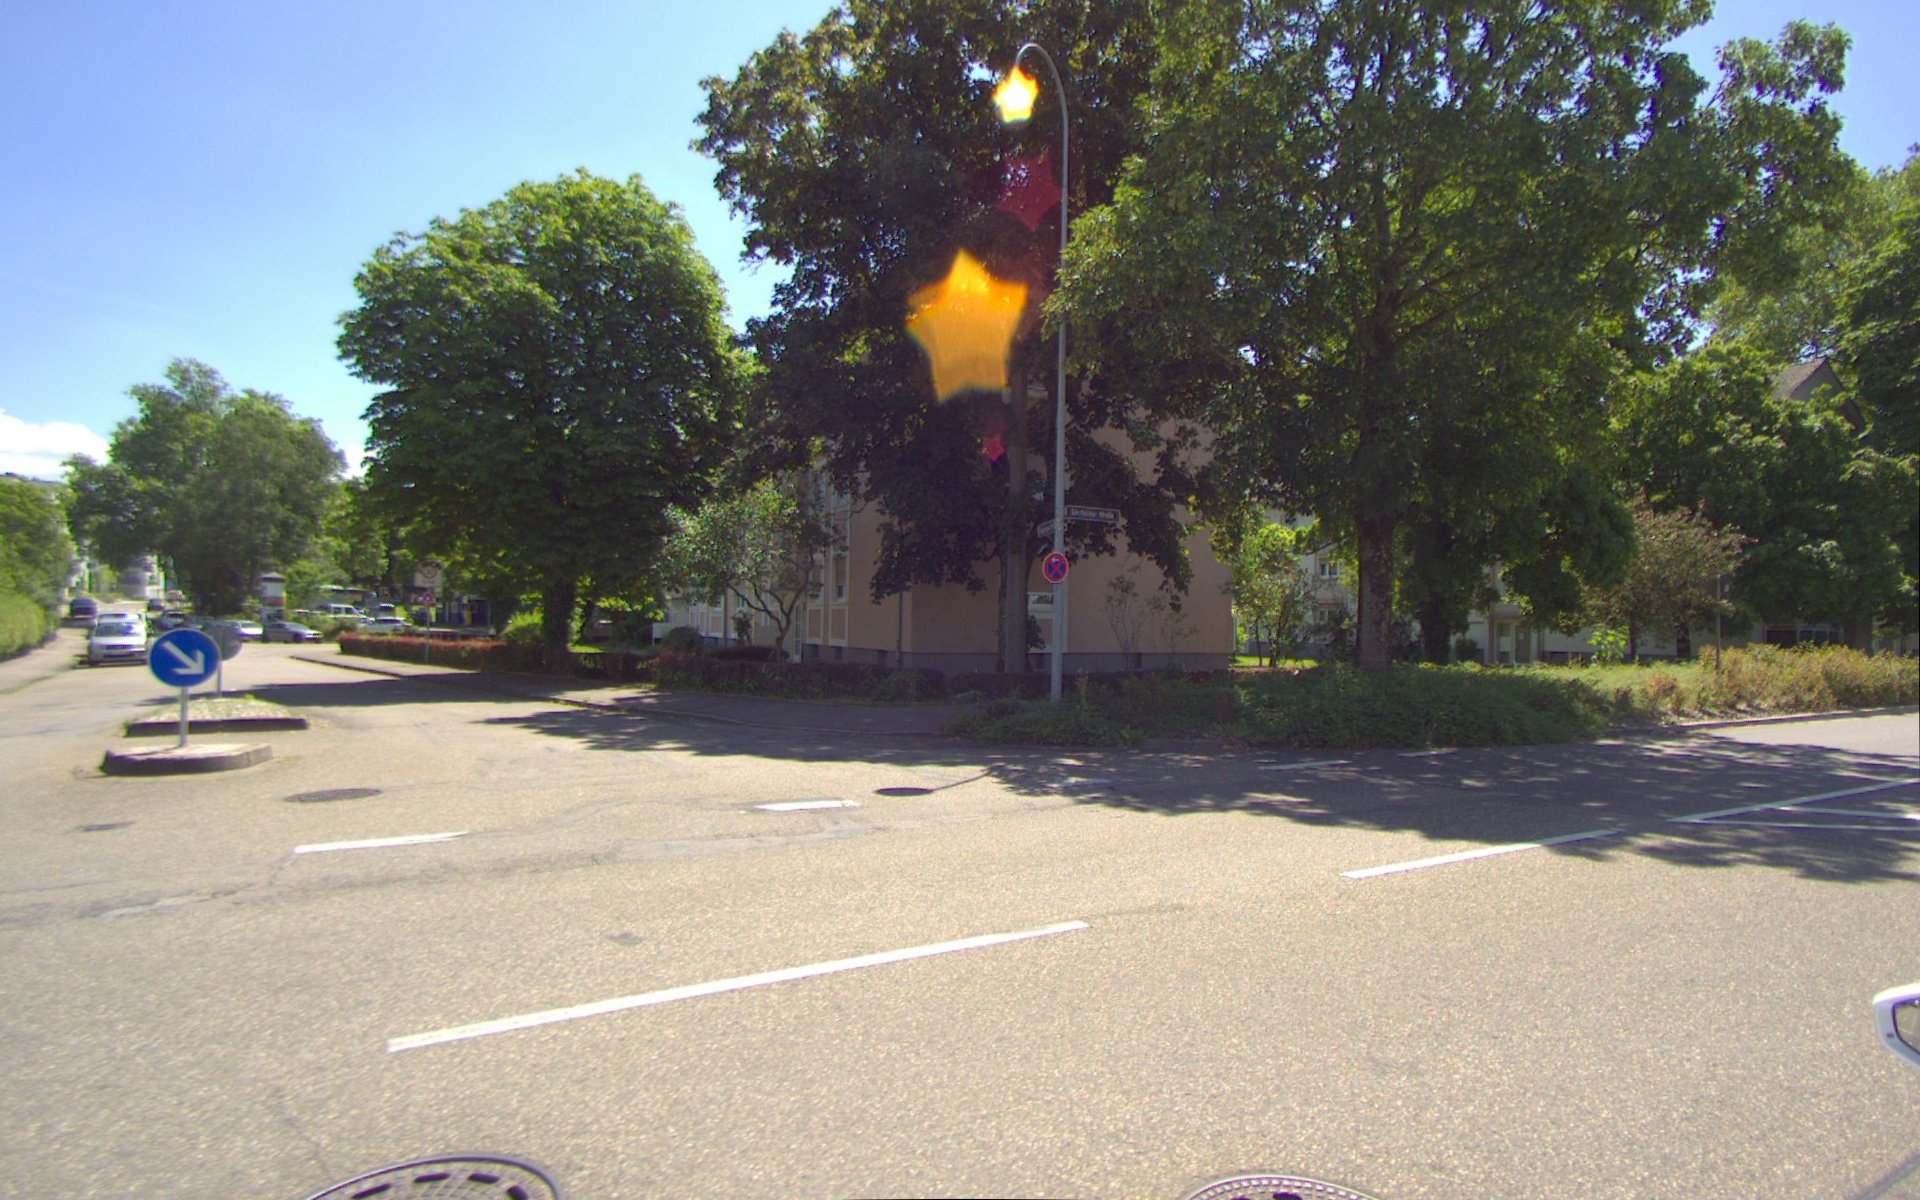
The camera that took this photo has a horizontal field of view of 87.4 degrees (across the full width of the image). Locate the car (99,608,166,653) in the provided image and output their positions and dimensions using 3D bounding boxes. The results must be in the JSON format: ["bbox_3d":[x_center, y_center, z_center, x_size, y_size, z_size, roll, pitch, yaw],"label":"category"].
[{"bbox_3d":[-36.922,1.313,44.905,1.980,1.855,3.961,1,0,-35],"label":"car"}]

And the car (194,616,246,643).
[{"bbox_3d":[-51.897,2.008,70.432,3.937,1.729,1.910,1,0,38],"label":"car"}]

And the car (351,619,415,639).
[{"bbox_3d":[-44.162,2.210,76.918,3.860,1.460,1.796,1,0,-8],"label":"car"}]

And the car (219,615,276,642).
[{"bbox_3d":[-48.263,1.905,68.037,3.935,1.668,2.002,1,0,36],"label":"car"}]

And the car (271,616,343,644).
[{"bbox_3d":[-43.421,1.989,66.815,3.920,1.673,2.000,1,0,17],"label":"car"}]

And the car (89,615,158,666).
[{"bbox_3d":[-30.160,1.410,36.290,1.817,1.608,3.955,1,0,-39],"label":"car"}]

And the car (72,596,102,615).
[{"bbox_3d":[-84.783,0.531,97.569,1.987,1.766,3.947,1,0,-44],"label":"car"}]
